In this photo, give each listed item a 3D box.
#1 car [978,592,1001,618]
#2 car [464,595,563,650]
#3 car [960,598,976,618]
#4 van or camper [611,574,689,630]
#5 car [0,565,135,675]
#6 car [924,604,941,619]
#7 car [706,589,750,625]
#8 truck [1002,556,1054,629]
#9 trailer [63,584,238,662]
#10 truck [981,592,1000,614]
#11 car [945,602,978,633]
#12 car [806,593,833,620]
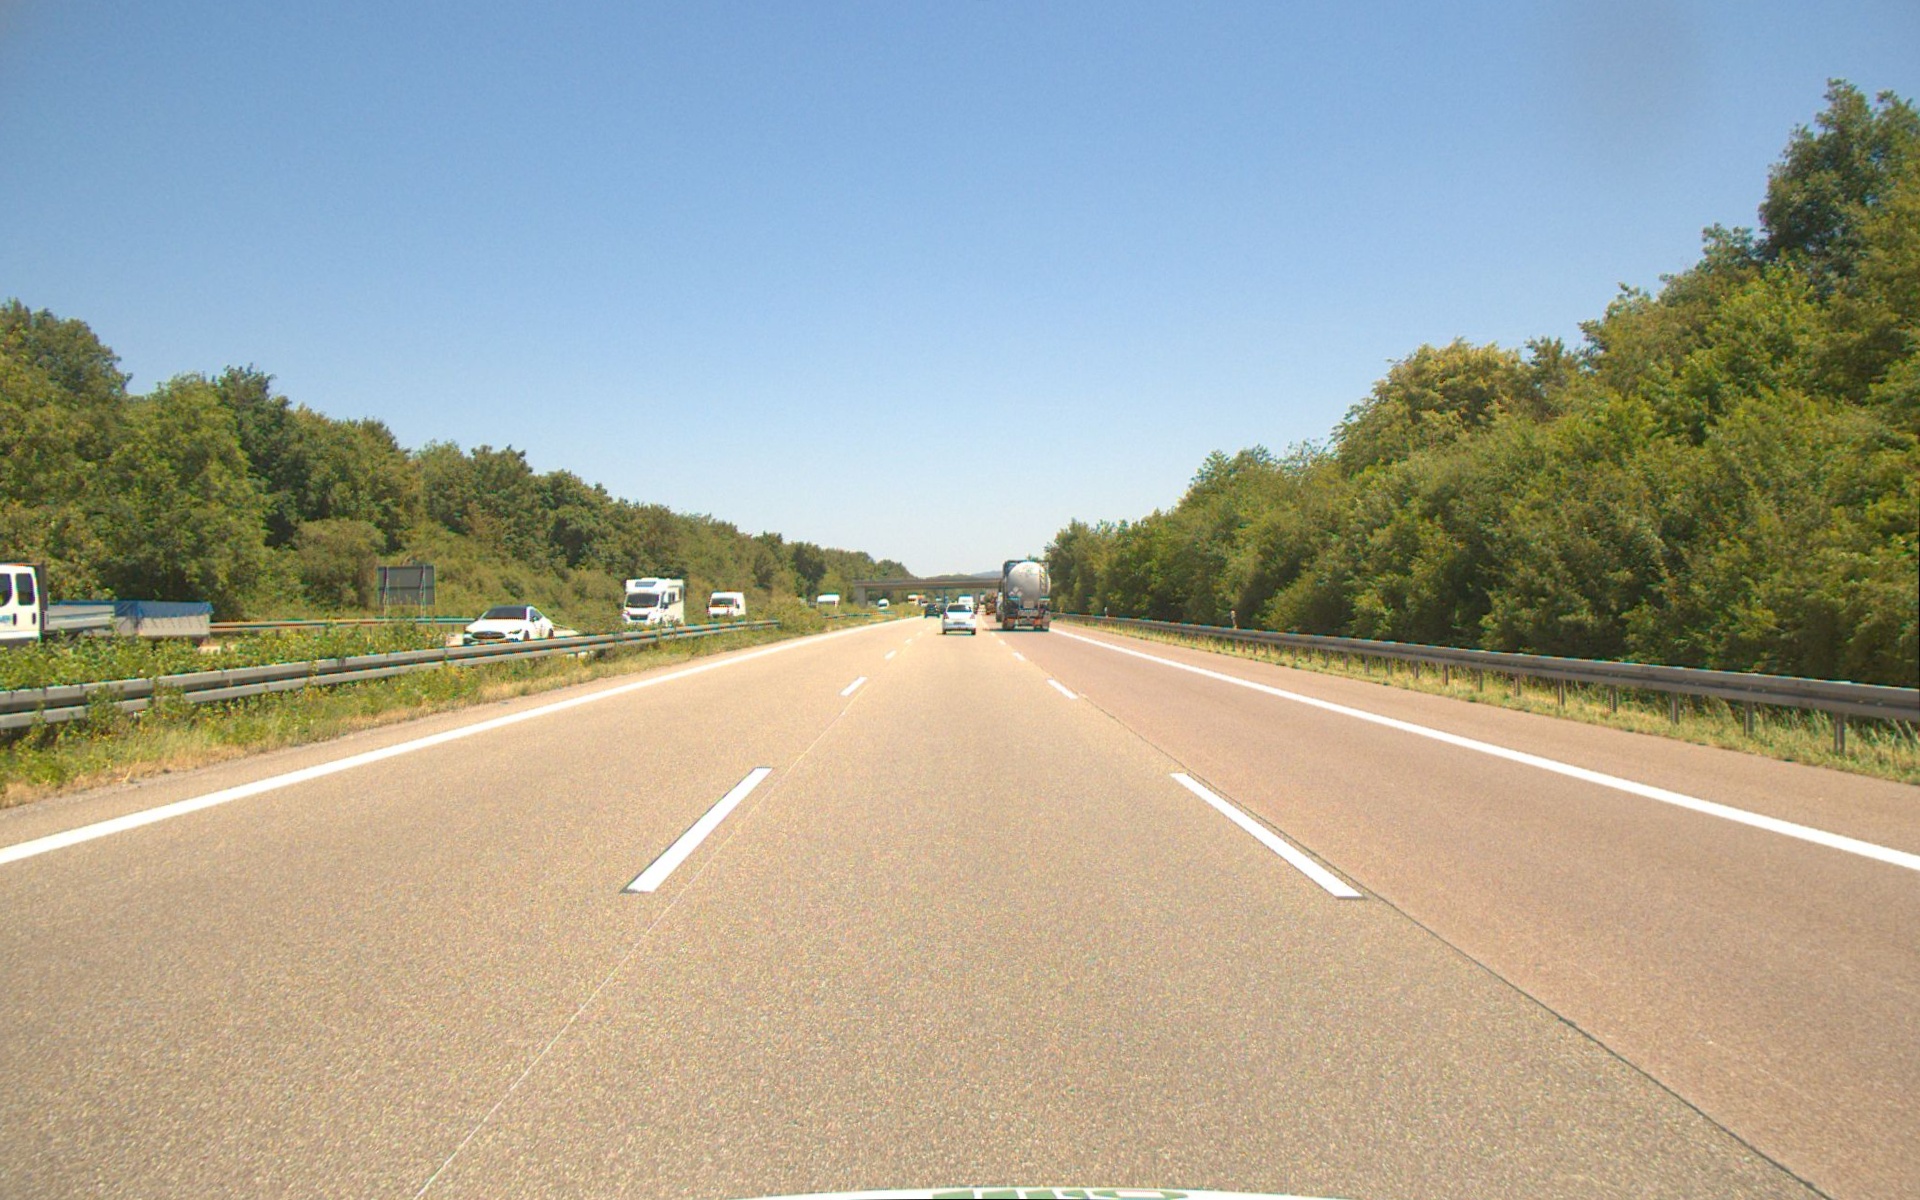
[{"bbox_3d":[2.640,0.453,149.593,1.953,2.264,4.786,0,0,0],"label":"car"},{"bbox_3d":[-13.869,0.676,51.643,1.775,1.624,5.009,0,0,-1],"label":"car"},{"bbox_3d":[1.023,0.963,205.213,1.952,2.384,4.387,0,0,1],"label":"car"},{"bbox_3d":[-16.616,0.097,89.152,2.461,2.899,8.028,0,0,1],"label":"van or camper"},{"bbox_3d":[-20.293,0.398,35.198,2.198,2.210,6.540,0,0,0],"label":"car"},{"bbox_3d":[-3.326,1.419,198.186,1.953,1.756,4.786,0,0,0],"label":"car"},{"bbox_3d":[-16.737,0.498,119.646,2.169,2.484,6.420,0,0,1],"label":"car"},{"bbox_3d":[3.972,-0.418,98.184,2.683,4.123,10.454,0,0,0],"label":"truck"},{"bbox_3d":[-20.315,0.546,41.773,1.987,1.868,4.989,0,0,-1],"label":"trailer"},{"bbox_3d":[4.622,0.445,251.996,2.855,3.297,6.344,1,-1,0],"label":"truck"},{"bbox_3d":[0.060,0.852,82.468,1.594,1.505,3.999,0,0,-1],"label":"car"},{"bbox_3d":[-13.286,0.593,157.009,1.952,2.442,6.166,0,0,1],"label":"car"}]
